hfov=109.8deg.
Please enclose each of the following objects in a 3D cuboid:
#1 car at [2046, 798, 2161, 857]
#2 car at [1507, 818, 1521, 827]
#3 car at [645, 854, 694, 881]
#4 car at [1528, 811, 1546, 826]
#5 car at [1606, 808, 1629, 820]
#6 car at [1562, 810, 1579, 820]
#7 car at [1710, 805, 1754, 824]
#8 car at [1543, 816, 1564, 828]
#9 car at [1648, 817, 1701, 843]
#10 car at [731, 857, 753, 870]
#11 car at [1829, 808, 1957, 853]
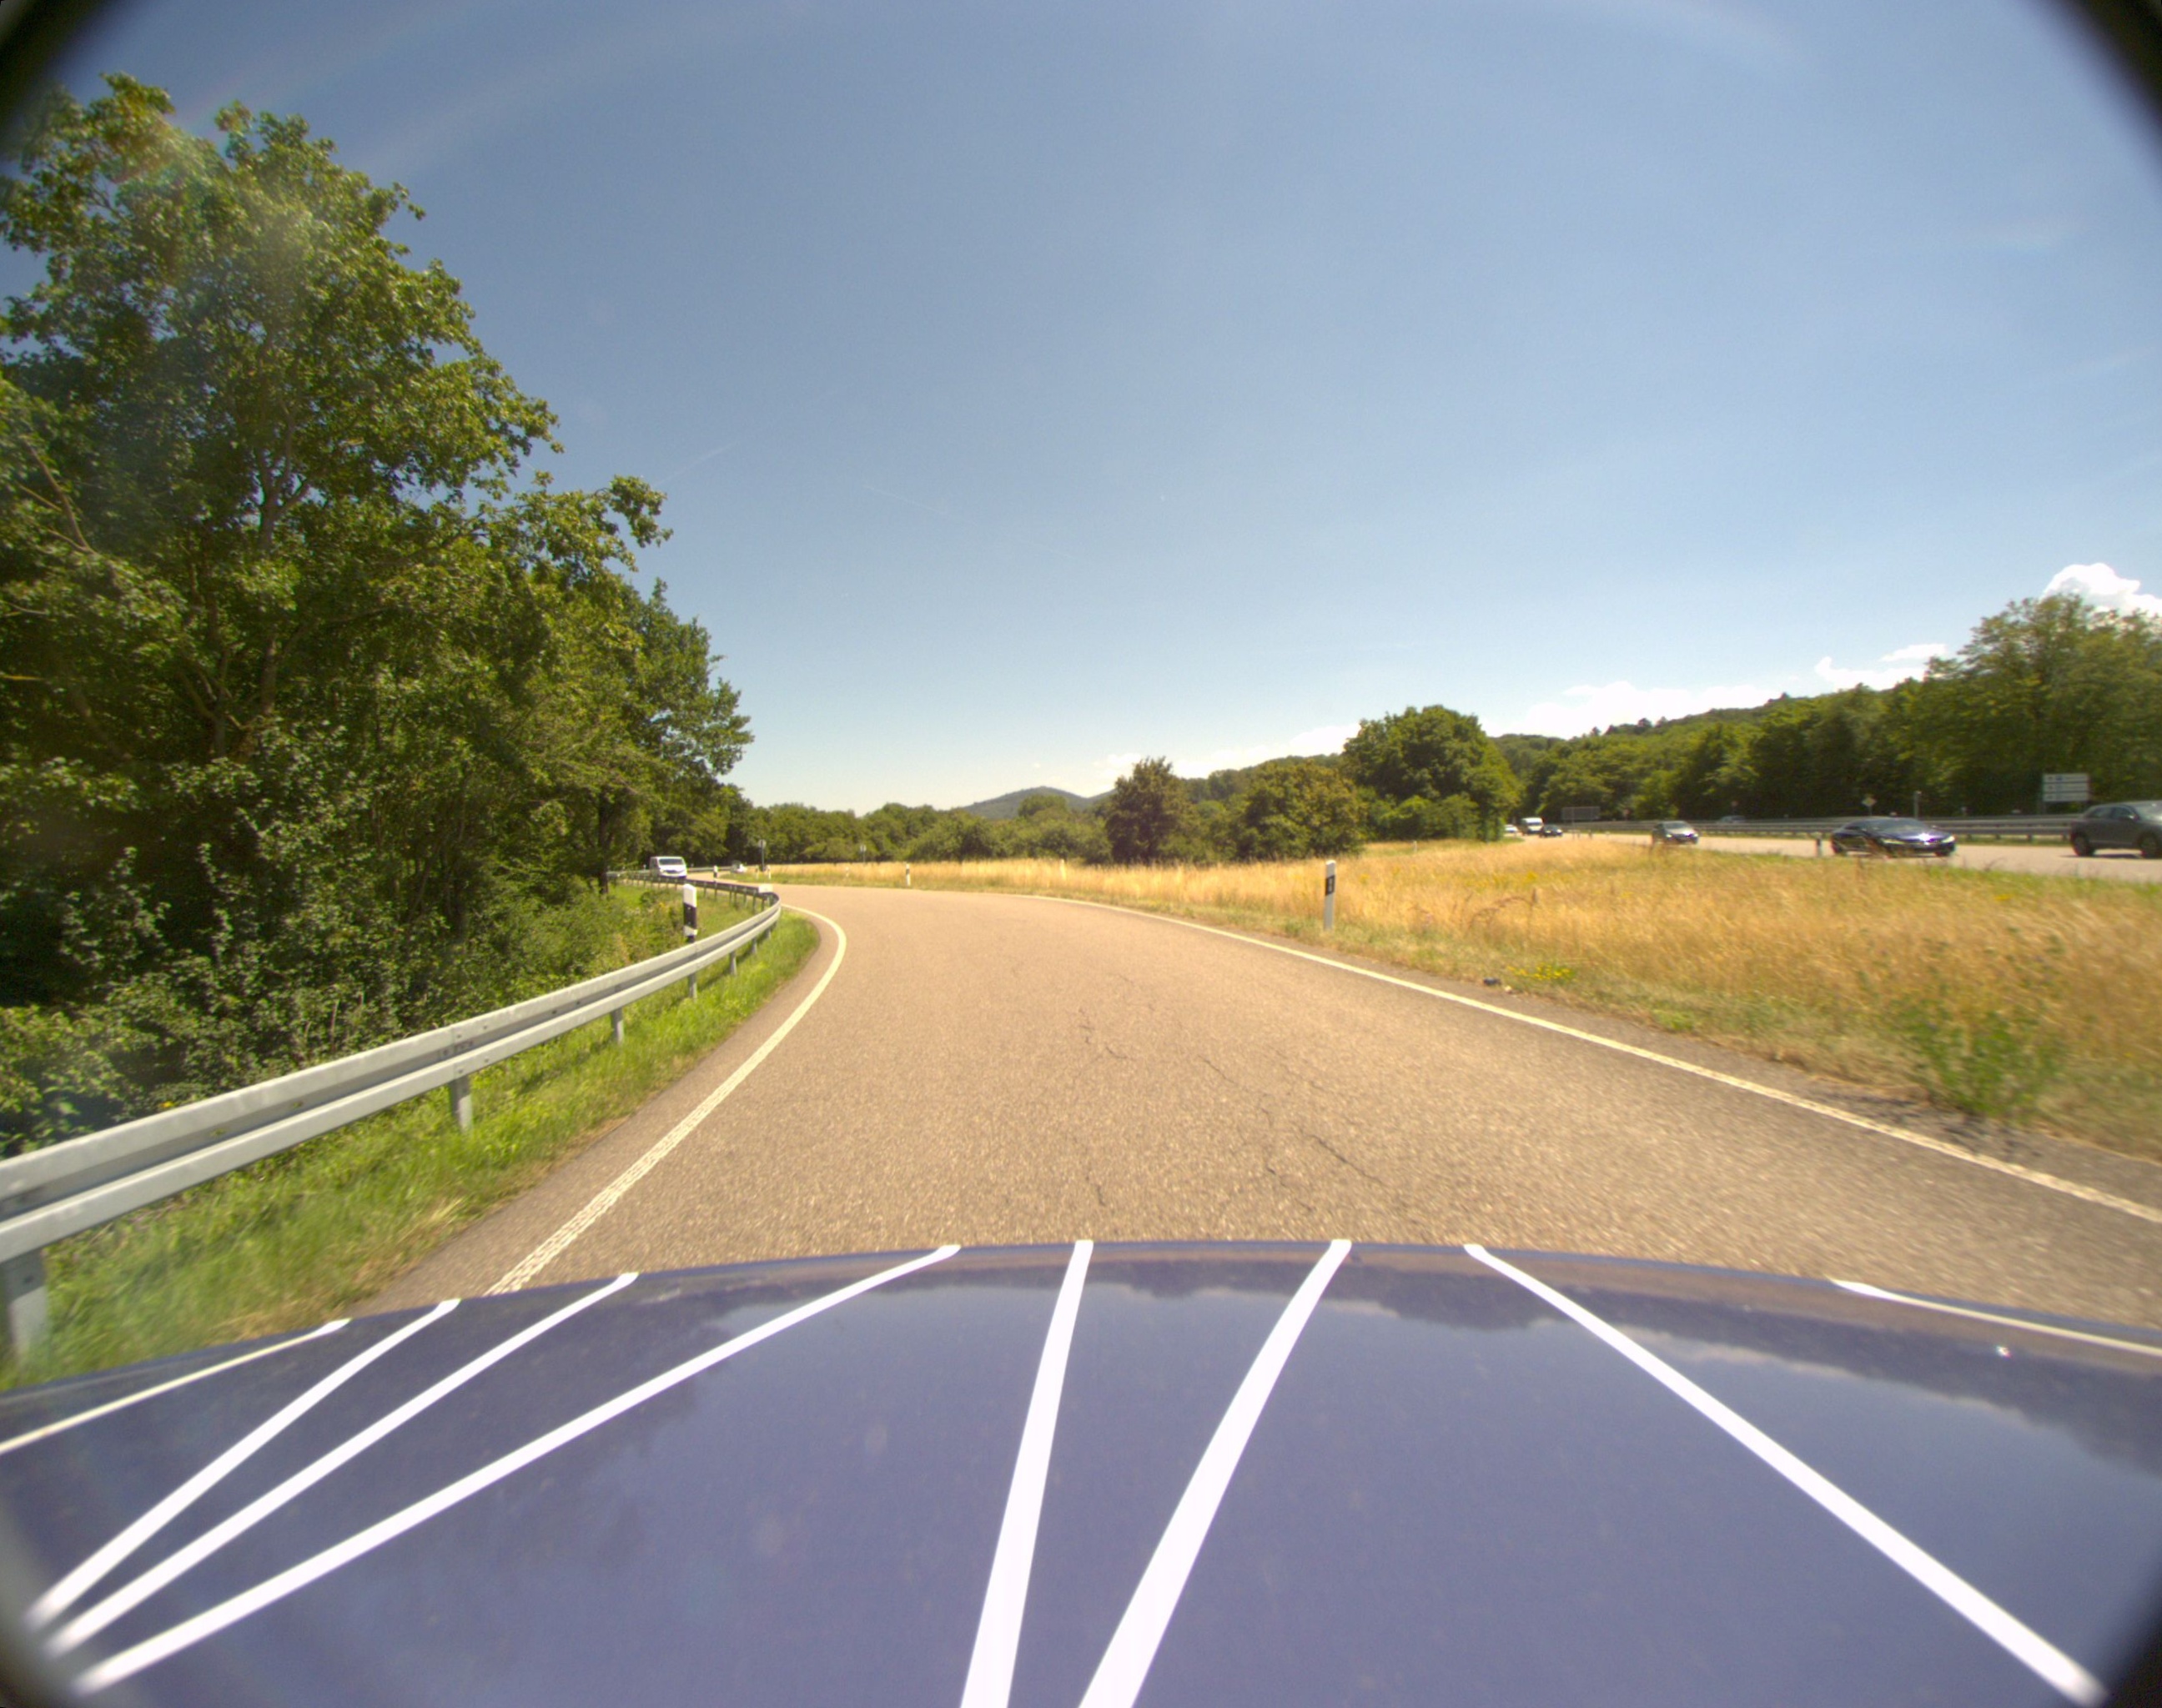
[{"bbox_3d":[29.851,-0.781,21.240,1.843,1.521,4.477,-3,0,28],"label":"car"},{"bbox_3d":[75.093,-5.477,131.821,1.668,1.276,4.005,-2,2,24],"label":"car"},{"bbox_3d":[-31.327,1.017,57.796,4.431,2.002,2.004,-1,0,43],"label":"car"},{"bbox_3d":[65.489,-5.163,109.215,2.005,1.988,4.586,-3,1,29],"label":"car"},{"bbox_3d":[86.837,-6.456,123.053,1.995,1.882,4.918,-2,2,23],"label":"car"},{"bbox_3d":[93.754,-7.458,145.603,1.995,1.882,4.918,-2,2,23],"label":"car"},{"bbox_3d":[66.121,-3.996,77.218,1.932,1.741,4.918,-2,2,23],"label":"car"},{"bbox_3d":[57.002,-3.860,91.711,1.843,1.400,4.476,-3,1,27],"label":"car"},{"bbox_3d":[40.444,-1.675,51.854,1.794,1.658,4.560,-2,2,24],"label":"car"},{"bbox_3d":[-51.909,1.439,116.337,2.000,2.002,4.440,-1,0,-10],"label":"car"},{"bbox_3d":[29.509,-0.830,27.790,1.843,1.399,4.477,-3,0,29],"label":"car"}]
